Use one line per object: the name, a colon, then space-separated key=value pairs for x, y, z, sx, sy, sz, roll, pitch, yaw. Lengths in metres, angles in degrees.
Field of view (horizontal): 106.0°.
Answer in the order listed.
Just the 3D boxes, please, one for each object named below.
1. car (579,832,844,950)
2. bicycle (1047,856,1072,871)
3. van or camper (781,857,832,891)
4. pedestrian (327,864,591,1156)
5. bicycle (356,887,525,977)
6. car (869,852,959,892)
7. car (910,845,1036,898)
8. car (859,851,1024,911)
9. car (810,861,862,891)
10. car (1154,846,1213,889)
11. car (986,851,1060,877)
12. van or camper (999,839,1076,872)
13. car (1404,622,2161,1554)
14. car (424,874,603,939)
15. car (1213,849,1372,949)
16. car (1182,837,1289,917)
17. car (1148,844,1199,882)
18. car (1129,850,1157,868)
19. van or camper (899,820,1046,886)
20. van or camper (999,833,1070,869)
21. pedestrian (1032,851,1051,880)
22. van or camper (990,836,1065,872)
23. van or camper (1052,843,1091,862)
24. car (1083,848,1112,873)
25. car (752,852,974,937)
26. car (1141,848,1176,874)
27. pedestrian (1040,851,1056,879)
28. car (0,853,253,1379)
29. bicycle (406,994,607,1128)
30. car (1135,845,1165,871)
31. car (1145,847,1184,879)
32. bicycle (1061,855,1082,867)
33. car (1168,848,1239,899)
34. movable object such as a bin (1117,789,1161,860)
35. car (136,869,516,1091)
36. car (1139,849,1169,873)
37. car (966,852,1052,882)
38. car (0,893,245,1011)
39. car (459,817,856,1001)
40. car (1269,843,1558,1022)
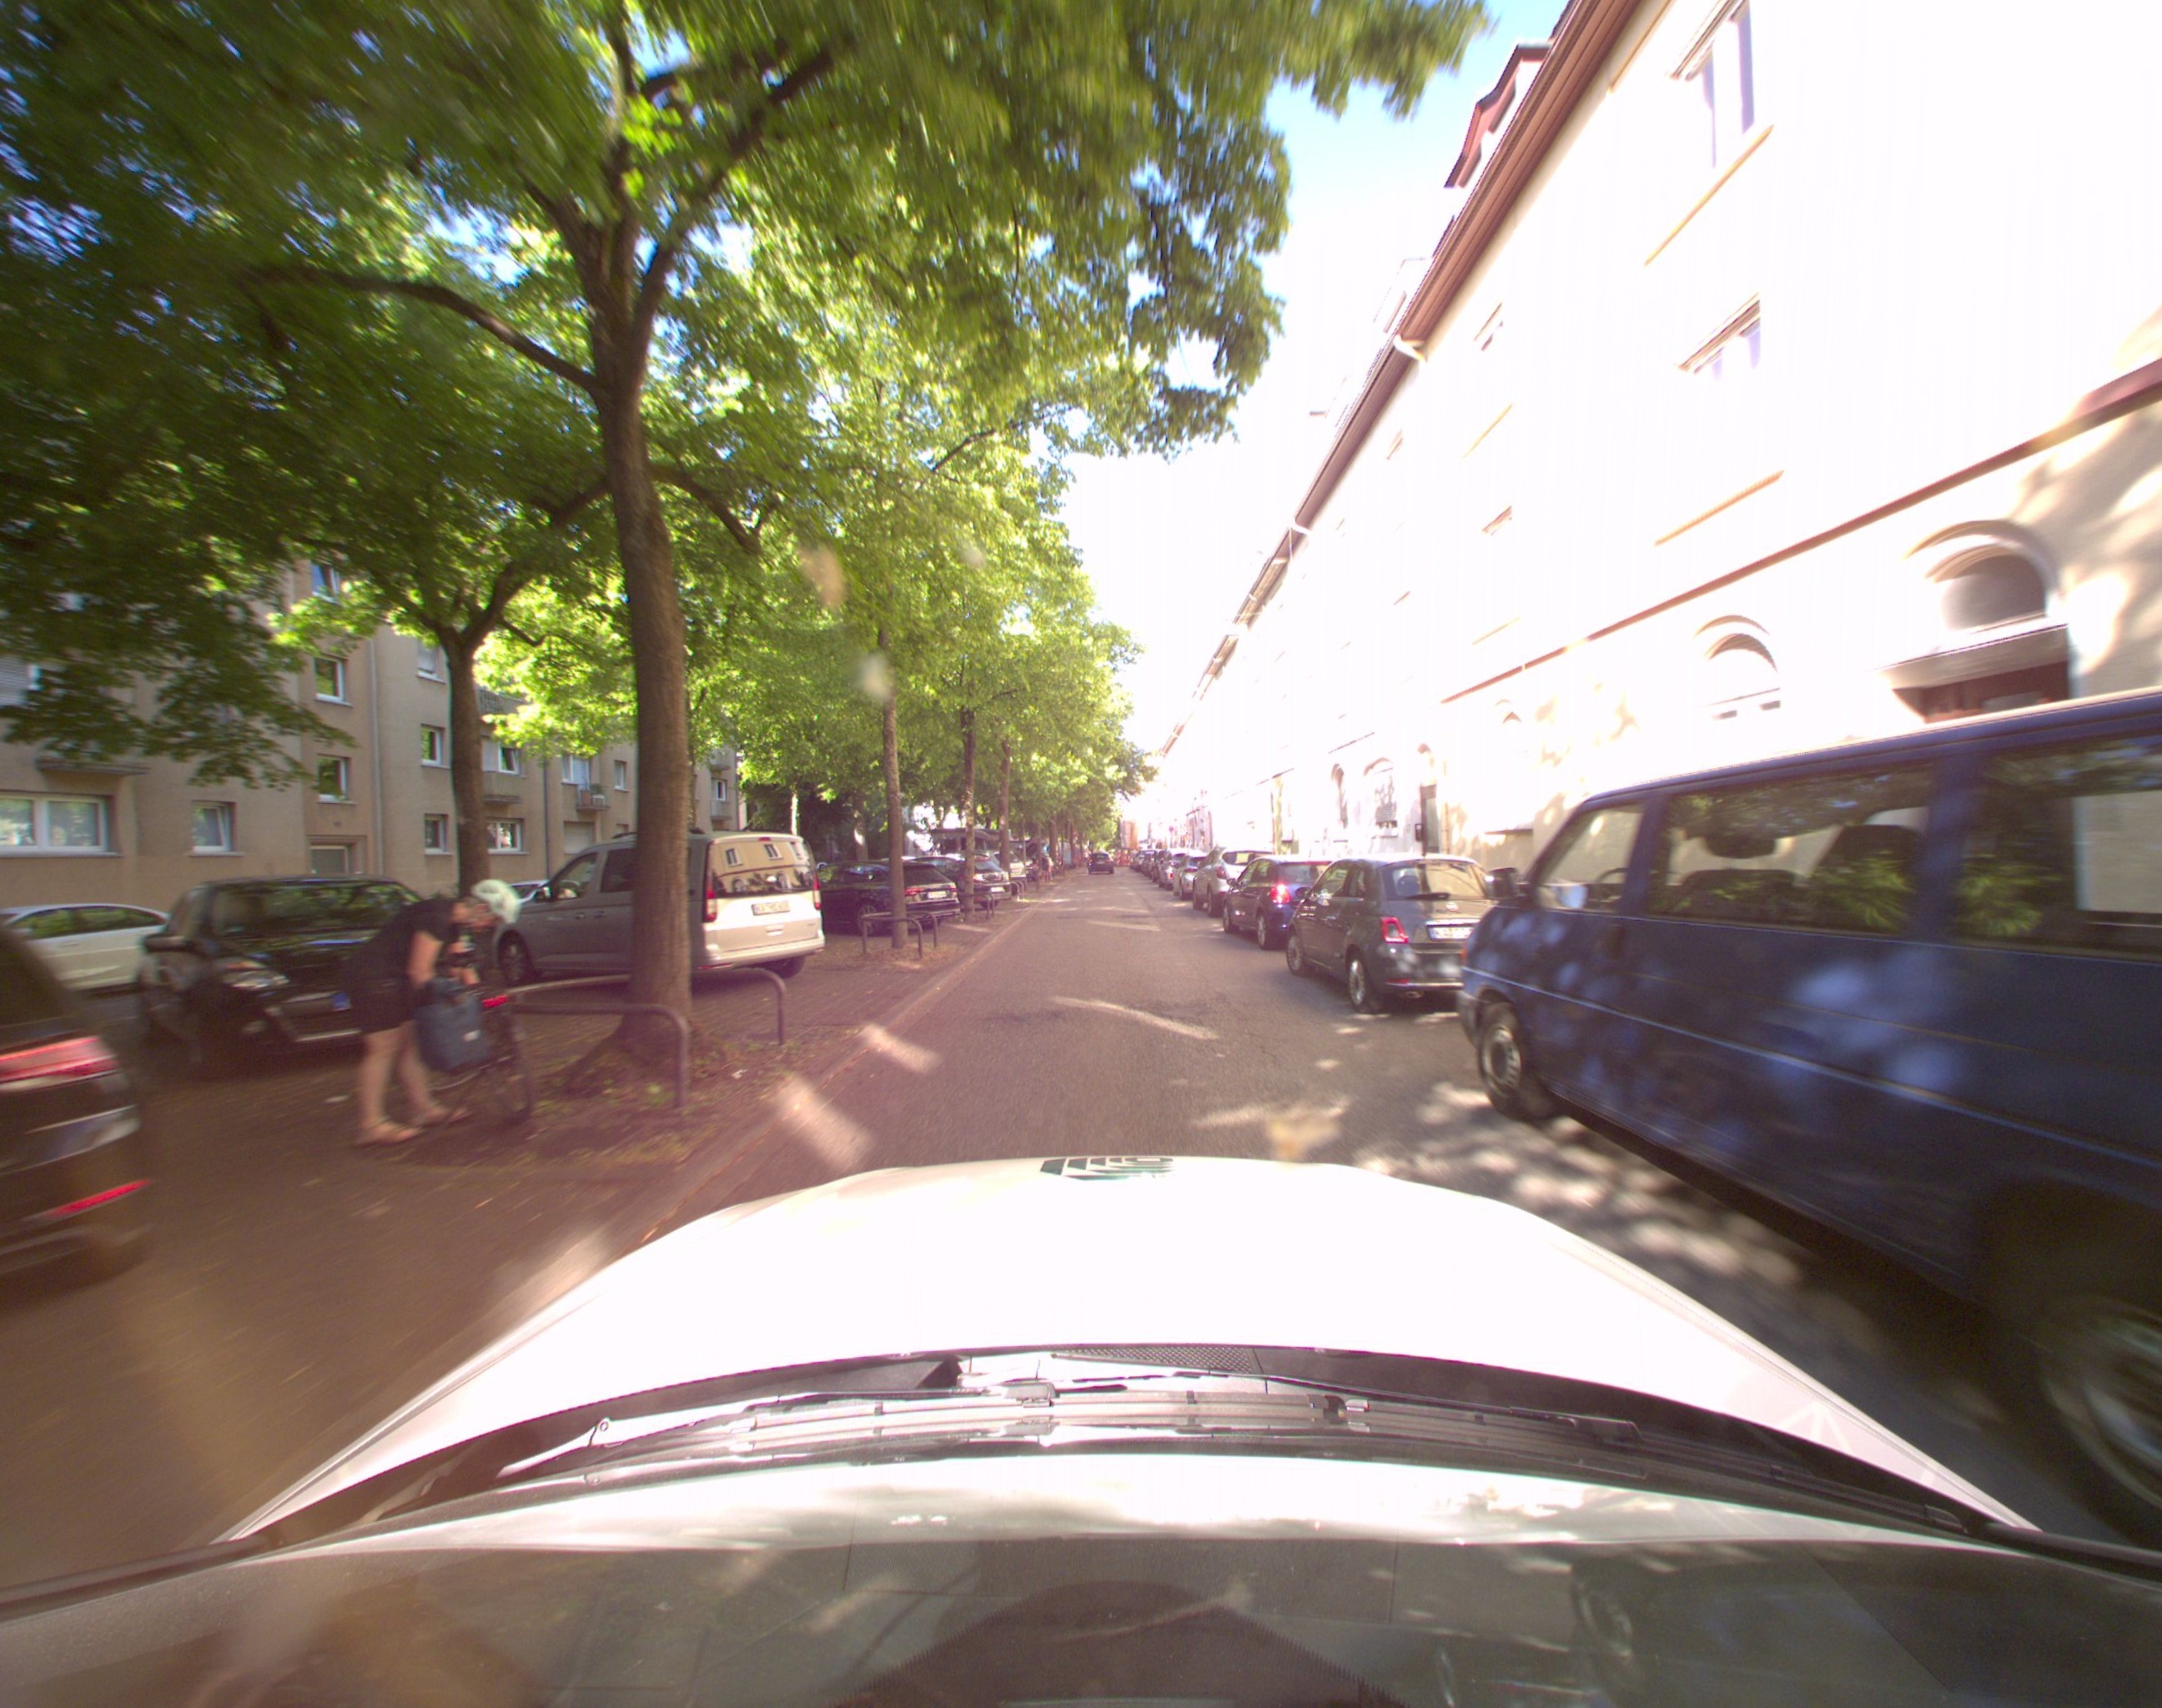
car: x=-6.703 y=0.662 z=14.672 sx=4.546 sy=1.832 sz=2.031 roll=-3 pitch=-1 yaw=30
bicycle: x=-1.581 y=0.720 z=59.315 sx=1.730 sy=1.006 sz=0.507 roll=-3 pitch=0 yaw=-29
van or camper: x=-14.198 y=1.011 z=42.284 sx=1.590 sy=1.555 sz=2.698 roll=-3 pitch=0 yaw=1
pedestrian: x=-3.469 y=0.782 z=4.582 sx=0.743 sy=1.396 sz=0.935 roll=-2 pitch=0 yaw=33
bicycle: x=-9.138 y=1.101 z=11.651 sx=1.932 sy=1.136 sz=0.519 roll=-3 pitch=0 yaw=-1
car: x=-7.128 y=0.781 z=34.654 sx=3.498 sy=1.507 sz=1.769 roll=-3 pitch=0 yaw=35
car: x=-3.814 y=0.625 z=28.644 sx=4.094 sy=1.679 sz=1.770 roll=-2 pitch=0 yaw=30
car: x=-3.812 y=0.723 z=21.984 sx=4.366 sy=1.462 sz=1.727 roll=-2 pitch=-1 yaw=34
car: x=-14.032 y=1.234 z=46.836 sx=1.657 sy=1.499 sz=3.771 roll=-2 pitch=0 yaw=2
car: x=3.978 y=0.474 z=32.126 sx=1.717 sy=1.528 sz=4.157 roll=-2 pitch=0 yaw=-1
car: x=-3.610 y=0.648 z=50.421 sx=4.431 sy=1.443 sz=1.744 roll=-2 pitch=0 yaw=34
van or camper: x=-3.373 y=0.150 z=63.027 sx=5.447 sy=2.275 sz=2.234 roll=-3 pitch=0 yaw=25
car: x=3.210 y=0.435 z=3.329 sx=1.941 sy=1.900 sz=4.848 roll=-2 pitch=0 yaw=2
car: x=-15.029 y=1.335 z=21.890 sx=1.885 sy=1.387 sz=4.001 roll=-2 pitch=0 yaw=1
car: x=3.440 y=0.650 z=13.941 sx=1.545 sy=1.394 sz=3.858 roll=-2 pitch=0 yaw=-2
car: x=3.659 y=0.486 z=20.000 sx=1.717 sy=1.686 sz=4.156 roll=-2 pitch=0 yaw=-1
car: x=4.181 y=0.388 z=37.376 sx=1.718 sy=1.596 sz=4.155 roll=-2 pitch=0 yaw=-2
car: x=5.109 y=0.387 z=67.385 sx=1.987 sy=1.409 sz=4.501 roll=-2 pitch=0 yaw=0
van or camper: x=-5.516 y=-0.026 z=40.952 sx=7.157 sy=2.929 sz=2.328 roll=-3 pitch=0 yaw=28
van or camper: x=-4.612 y=-0.317 z=80.412 sx=6.592 sy=3.240 sz=2.511 roll=-3 pitch=0 yaw=30
pedestrian: x=-2.045 y=0.599 z=42.108 sx=0.703 sy=1.456 sz=0.600 roll=-3 pitch=0 yaw=24
van or camper: x=-4.421 y=0.015 z=67.296 sx=5.811 sy=2.637 sz=2.269 roll=-3 pitch=0 yaw=31
van or camper: x=-1.444 y=-0.203 z=122.052 sx=5.280 sy=2.474 sz=2.309 roll=-3 pitch=0 yaw=33
car: x=1.081 y=0.388 z=54.523 sx=1.791 sy=1.503 sz=3.586 roll=-3 pitch=0 yaw=0
car: x=-4.470 y=0.790 z=16.465 sx=4.431 sy=1.455 sz=1.799 roll=-2 pitch=0 yaw=33
car: x=4.455 y=0.367 z=47.314 sx=1.625 sy=1.412 sz=4.088 roll=-2 pitch=0 yaw=0
pedestrian: x=-1.718 y=0.580 z=42.747 sx=0.609 sy=1.456 sz=0.522 roll=-3 pitch=0 yaw=24
car: x=-5.032 y=0.816 z=3.144 sx=4.055 sy=1.506 sz=1.744 roll=-2 pitch=0 yaw=33
bicycle: x=-3.565 y=1.227 z=5.012 sx=1.593 sy=0.558 sz=0.412 roll=-2 pitch=0 yaw=32
car: x=4.842 y=0.238 z=57.721 sx=1.810 sy=1.674 sz=4.675 roll=-2 pitch=0 yaw=2
car: x=4.336 y=0.425 z=42.538 sx=1.625 sy=1.534 sz=3.592 roll=-2 pitch=0 yaw=0
bicycle: x=-0.899 y=0.655 z=77.579 sx=1.879 sy=1.006 sz=0.433 roll=-2 pitch=0 yaw=25
car: x=3.885 y=0.574 z=26.369 sx=1.716 sy=1.432 sz=4.159 roll=-2 pitch=0 yaw=1
movable object such as a bin: x=5.736 y=-2.885 z=81.033 sx=3.445 sy=6.759 sz=2.384 roll=-2 pitch=0 yaw=34
car: x=-6.682 y=0.885 z=7.106 sx=3.752 sy=1.406 sz=1.634 roll=-2 pitch=0 yaw=35
car: x=4.662 y=0.449 z=52.312 sx=1.611 sy=1.412 sz=3.789 roll=-2 pitch=0 yaw=2
car: x=-3.826 y=0.685 z=43.355 sx=4.274 sy=1.424 sz=1.685 roll=-2 pitch=0 yaw=28
car: x=-15.109 y=1.415 z=11.514 sx=1.722 sy=1.393 sz=4.616 roll=-3 pitch=0 yaw=0
car: x=-5.279 y=0.594 z=10.128 sx=4.467 sy=1.865 sz=2.093 roll=-2 pitch=0 yaw=26
car: x=3.321 y=0.670 z=8.908 sx=1.617 sy=1.498 sz=3.594 roll=-2 pitch=0 yaw=-1
